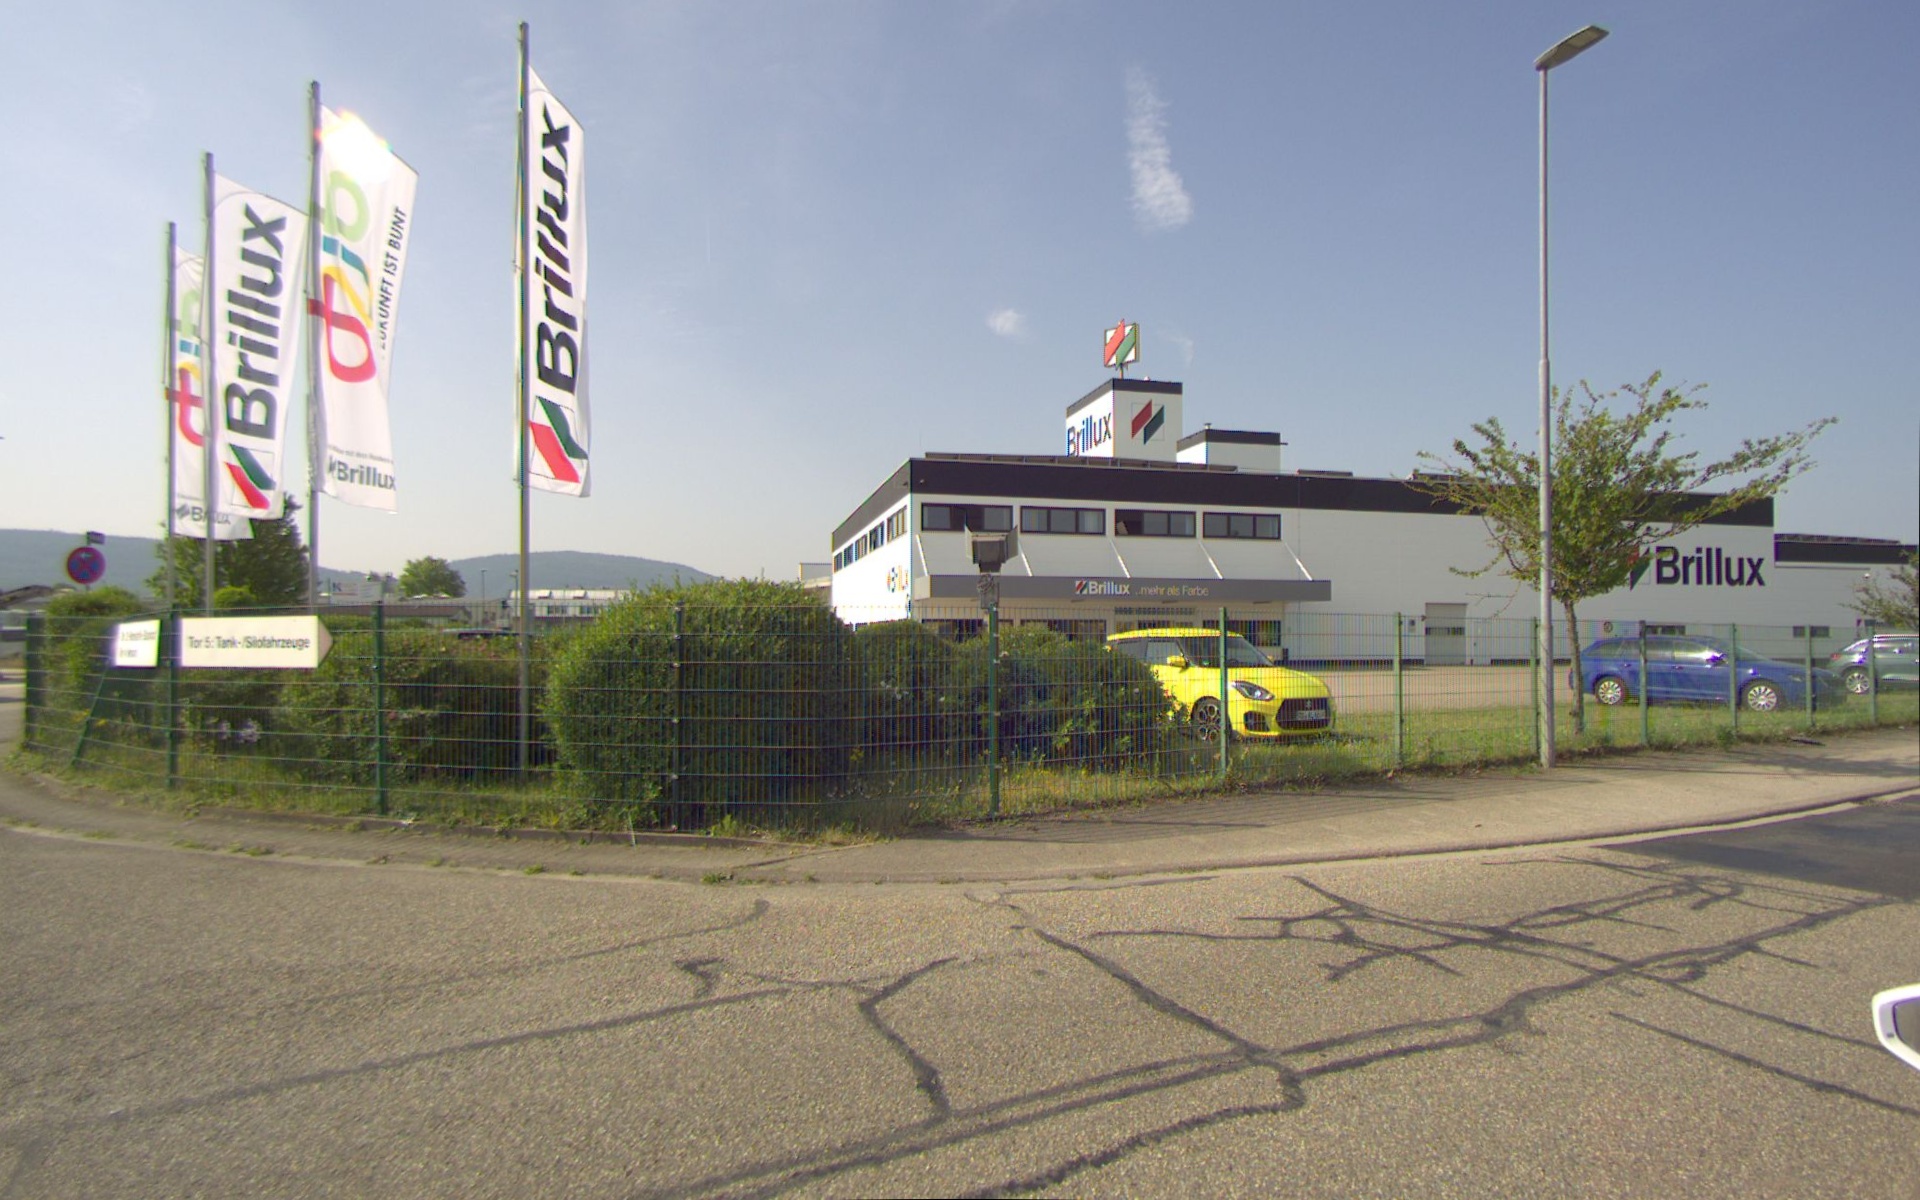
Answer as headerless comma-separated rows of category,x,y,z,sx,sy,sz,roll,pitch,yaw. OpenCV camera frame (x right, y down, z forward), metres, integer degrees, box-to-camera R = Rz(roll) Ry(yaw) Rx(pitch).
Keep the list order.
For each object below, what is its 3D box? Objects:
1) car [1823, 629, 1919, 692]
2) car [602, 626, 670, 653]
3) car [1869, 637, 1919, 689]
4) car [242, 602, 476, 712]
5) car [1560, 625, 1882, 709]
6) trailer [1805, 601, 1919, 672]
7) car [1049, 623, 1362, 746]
car,24.952,1.533,25.568,1.843,1.588,4.108,1,-4,-30
car,-21.373,2.575,66.243,3.953,1.728,1.777,1,-2,-30
car,28.059,1.721,27.716,1.852,1.463,4.022,1,-4,-30
car,-10.912,1.019,18.725,2.112,1.775,4.659,0,-2,-9
car,14.944,1.316,20.043,2.054,1.463,4.664,1,-4,-30
trailer,58.502,2.347,61.818,13.656,4.095,2.482,2,0,-15
car,3.132,1.049,13.686,1.846,1.386,4.146,1,-3,-29
